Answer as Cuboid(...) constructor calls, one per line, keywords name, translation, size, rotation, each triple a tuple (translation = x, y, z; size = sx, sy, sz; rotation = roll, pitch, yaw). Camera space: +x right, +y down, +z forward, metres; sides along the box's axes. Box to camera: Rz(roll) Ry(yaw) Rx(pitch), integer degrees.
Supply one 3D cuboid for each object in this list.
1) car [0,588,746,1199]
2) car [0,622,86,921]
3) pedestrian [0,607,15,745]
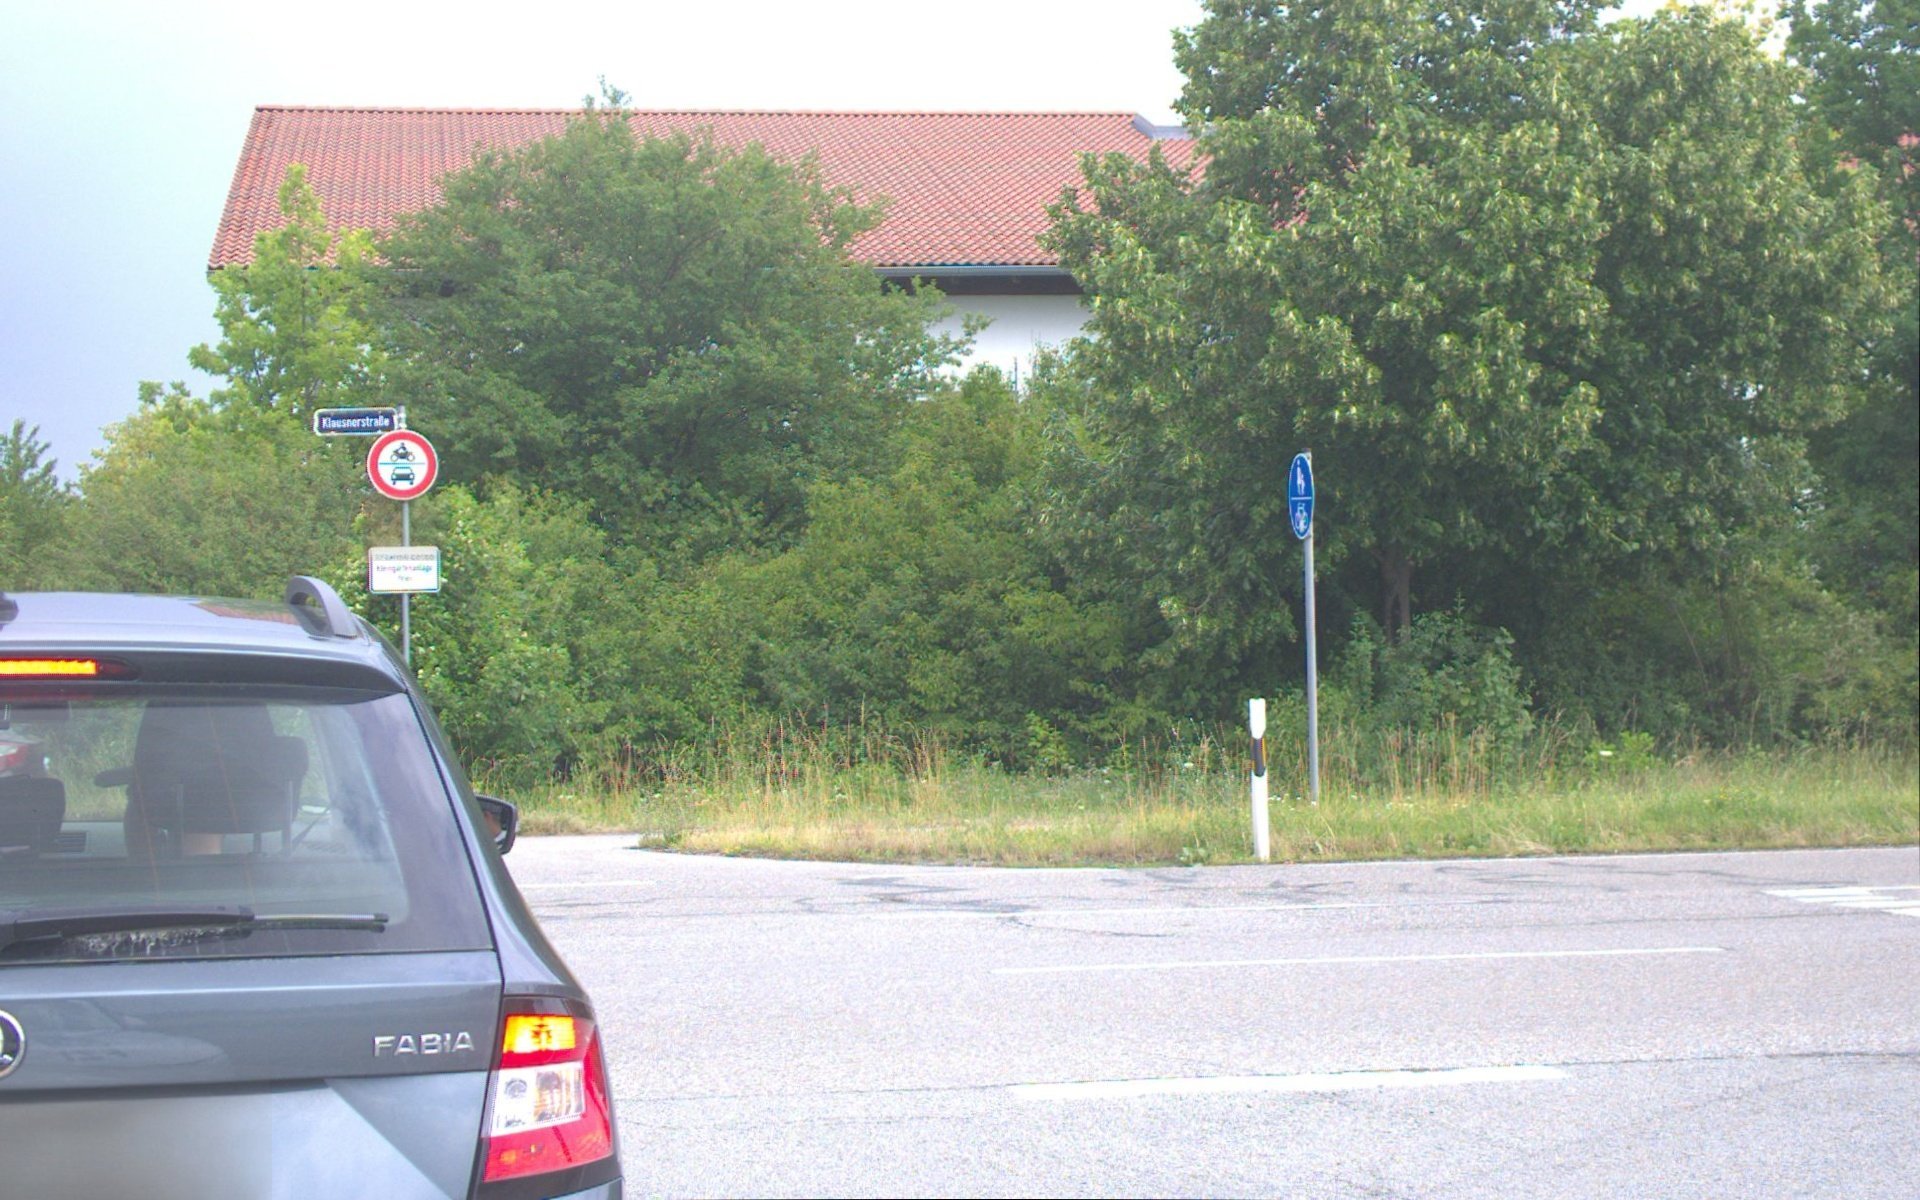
Cuboid(name="car", translation=(-1.605, 0.725, 5.431), size=(1.676, 1.458, 3.709), rotation=(-1, 1, -18))
Cuboid(name="car", translation=(-6.693, 0.901, 17.547), size=(4.146, 1.459, 2.000), rotation=(-2, 0, -10))
Cuboid(name="pedestrian", translation=(-12.007, 0.935, 42.071), size=(0.584, 1.677, 0.565), rotation=(-1, 1, 18))
